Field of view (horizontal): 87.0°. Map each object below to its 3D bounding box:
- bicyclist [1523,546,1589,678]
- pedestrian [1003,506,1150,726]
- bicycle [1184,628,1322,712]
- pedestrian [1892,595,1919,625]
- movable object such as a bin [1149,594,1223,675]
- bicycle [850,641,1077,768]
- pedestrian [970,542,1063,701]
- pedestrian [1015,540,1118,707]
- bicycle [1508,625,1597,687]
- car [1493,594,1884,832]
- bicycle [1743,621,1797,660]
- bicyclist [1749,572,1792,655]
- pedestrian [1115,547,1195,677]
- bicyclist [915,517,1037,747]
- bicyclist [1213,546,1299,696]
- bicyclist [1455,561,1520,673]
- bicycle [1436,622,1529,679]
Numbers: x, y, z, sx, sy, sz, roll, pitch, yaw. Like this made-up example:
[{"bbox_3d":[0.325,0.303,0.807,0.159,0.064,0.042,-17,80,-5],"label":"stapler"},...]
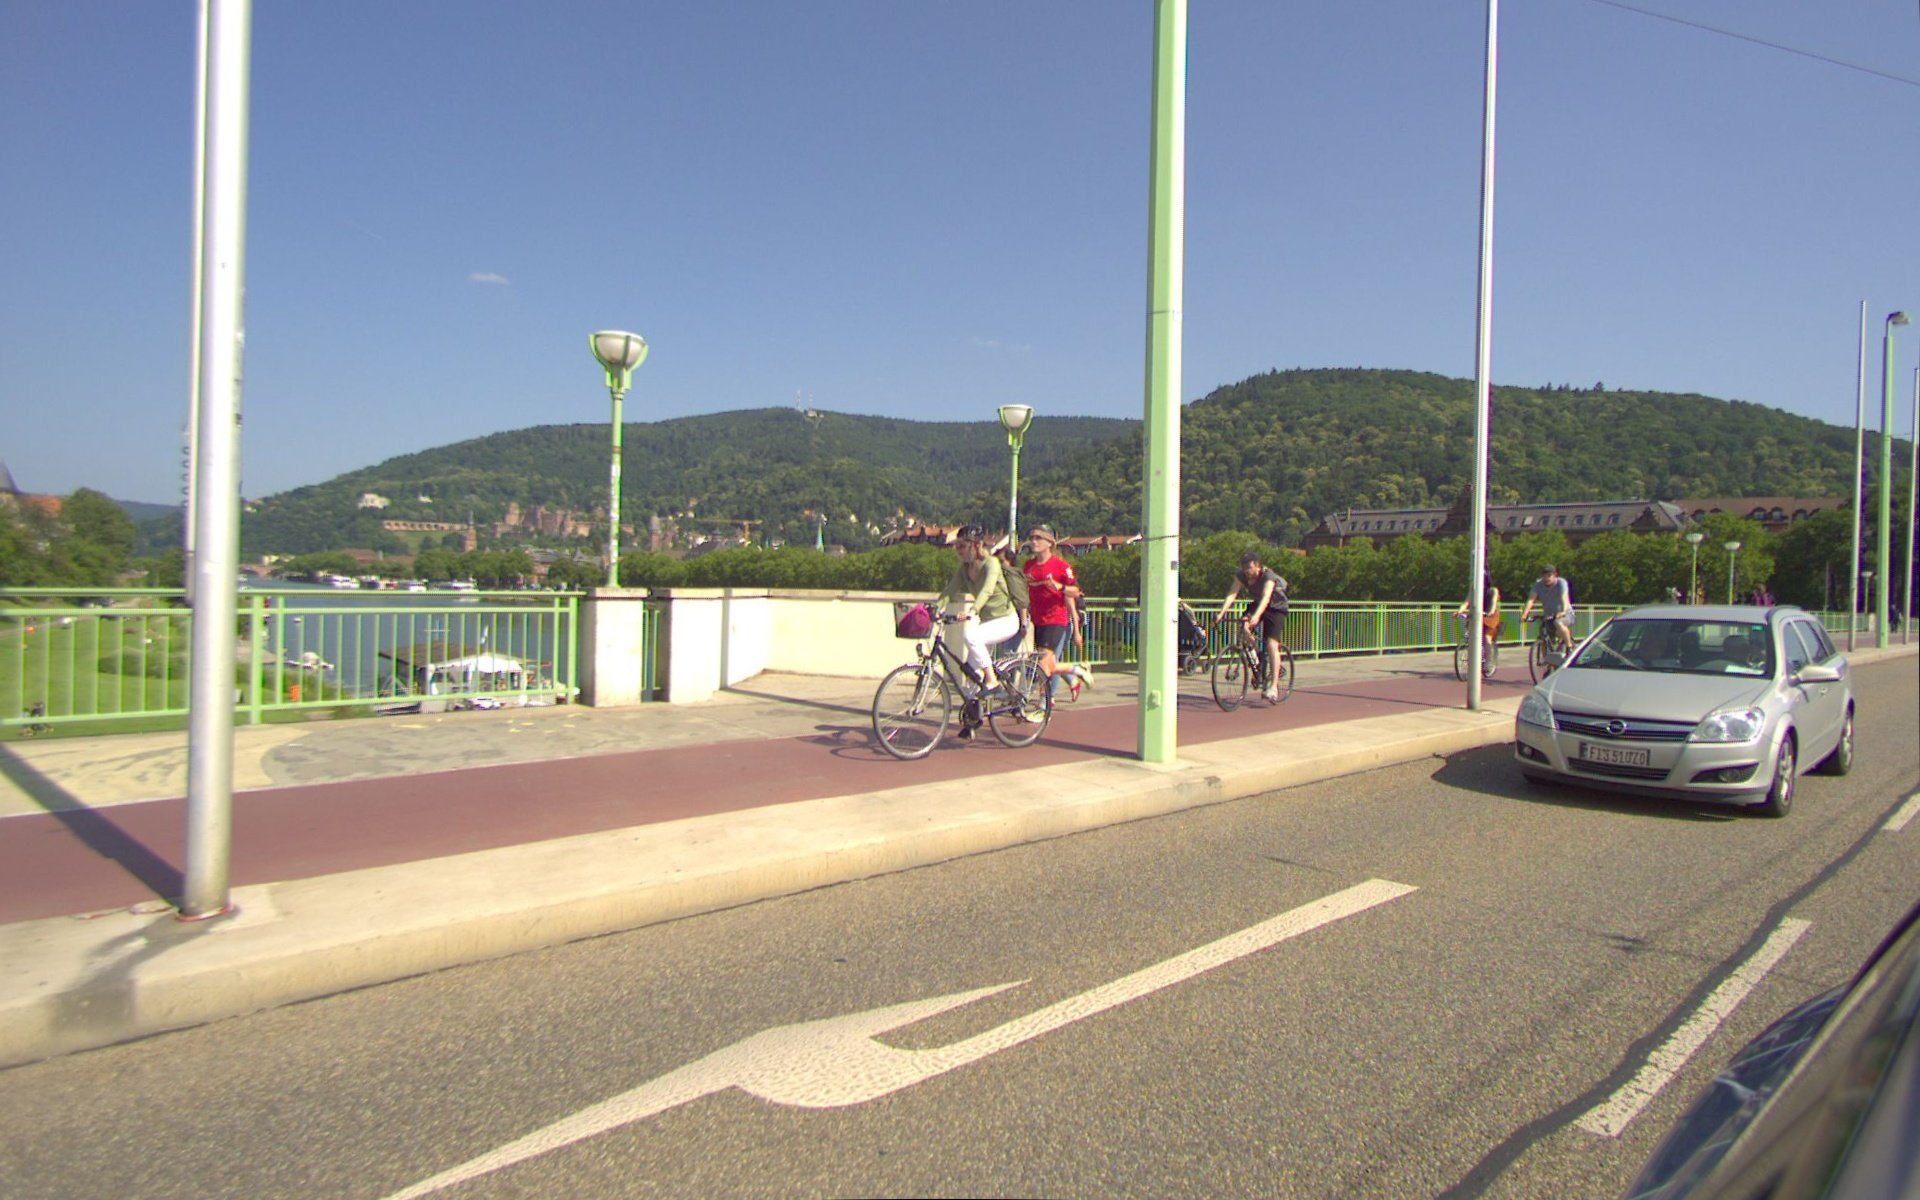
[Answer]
[{"bbox_3d":[8.609,0.152,14.606,0.690,1.842,0.587,0,2,-42],"label":"bicyclist"},{"bbox_3d":[1.113,0.128,9.643,1.108,1.948,0.812,0,2,-41],"label":"pedestrian"},{"bbox_3d":[3.243,0.735,11.107,1.800,0.775,0.594,0,2,-43],"label":"bicycle"},{"bbox_3d":[55.113,0.563,58.991,1.063,1.683,0.949,1,3,-41],"label":"pedestrian"},{"bbox_3d":[3.265,0.482,14.622,0.917,1.104,0.583,0,2,-41],"label":"movable object such as a bin"},{"bbox_3d":[0.070,0.755,7.805,1.835,0.775,0.594,0,2,-43],"label":"bicycle"},{"bbox_3d":[0.620,0.211,11.136,0.733,1.679,0.668,0,2,-41],"label":"pedestrian"},{"bbox_3d":[1.119,0.223,10.662,0.810,1.679,0.664,0,2,-41],"label":"pedestrian"},{"bbox_3d":[8.556,0.776,14.574,1.835,0.775,0.594,0,2,-43],"label":"bicycle"},{"bbox_3d":[6.176,0.705,8.379,4.250,1.484,1.708,0,0,-41],"label":"car"},{"bbox_3d":[18.067,0.881,22.564,1.833,0.775,0.595,0,2,-40],"label":"bicycle"},{"bbox_3d":[18.063,0.291,22.554,0.660,1.791,0.587,1,1,-40],"label":"bicyclist"},{"bbox_3d":[2.707,0.148,14.071,0.844,1.727,0.664,0,2,-41],"label":"pedestrian"},{"bbox_3d":[0.120,0.222,7.820,0.690,1.671,0.587,0,2,-42],"label":"bicyclist"},{"bbox_3d":[3.234,0.208,11.076,0.690,1.578,0.587,0,2,-42],"label":"bicyclist"},{"bbox_3d":[8.101,0.244,15.548,0.689,1.671,0.606,0,2,-40],"label":"bicyclist"},{"bbox_3d":[8.020,0.748,15.495,1.833,0.775,0.595,0,2,-40],"label":"bicycle"}]
